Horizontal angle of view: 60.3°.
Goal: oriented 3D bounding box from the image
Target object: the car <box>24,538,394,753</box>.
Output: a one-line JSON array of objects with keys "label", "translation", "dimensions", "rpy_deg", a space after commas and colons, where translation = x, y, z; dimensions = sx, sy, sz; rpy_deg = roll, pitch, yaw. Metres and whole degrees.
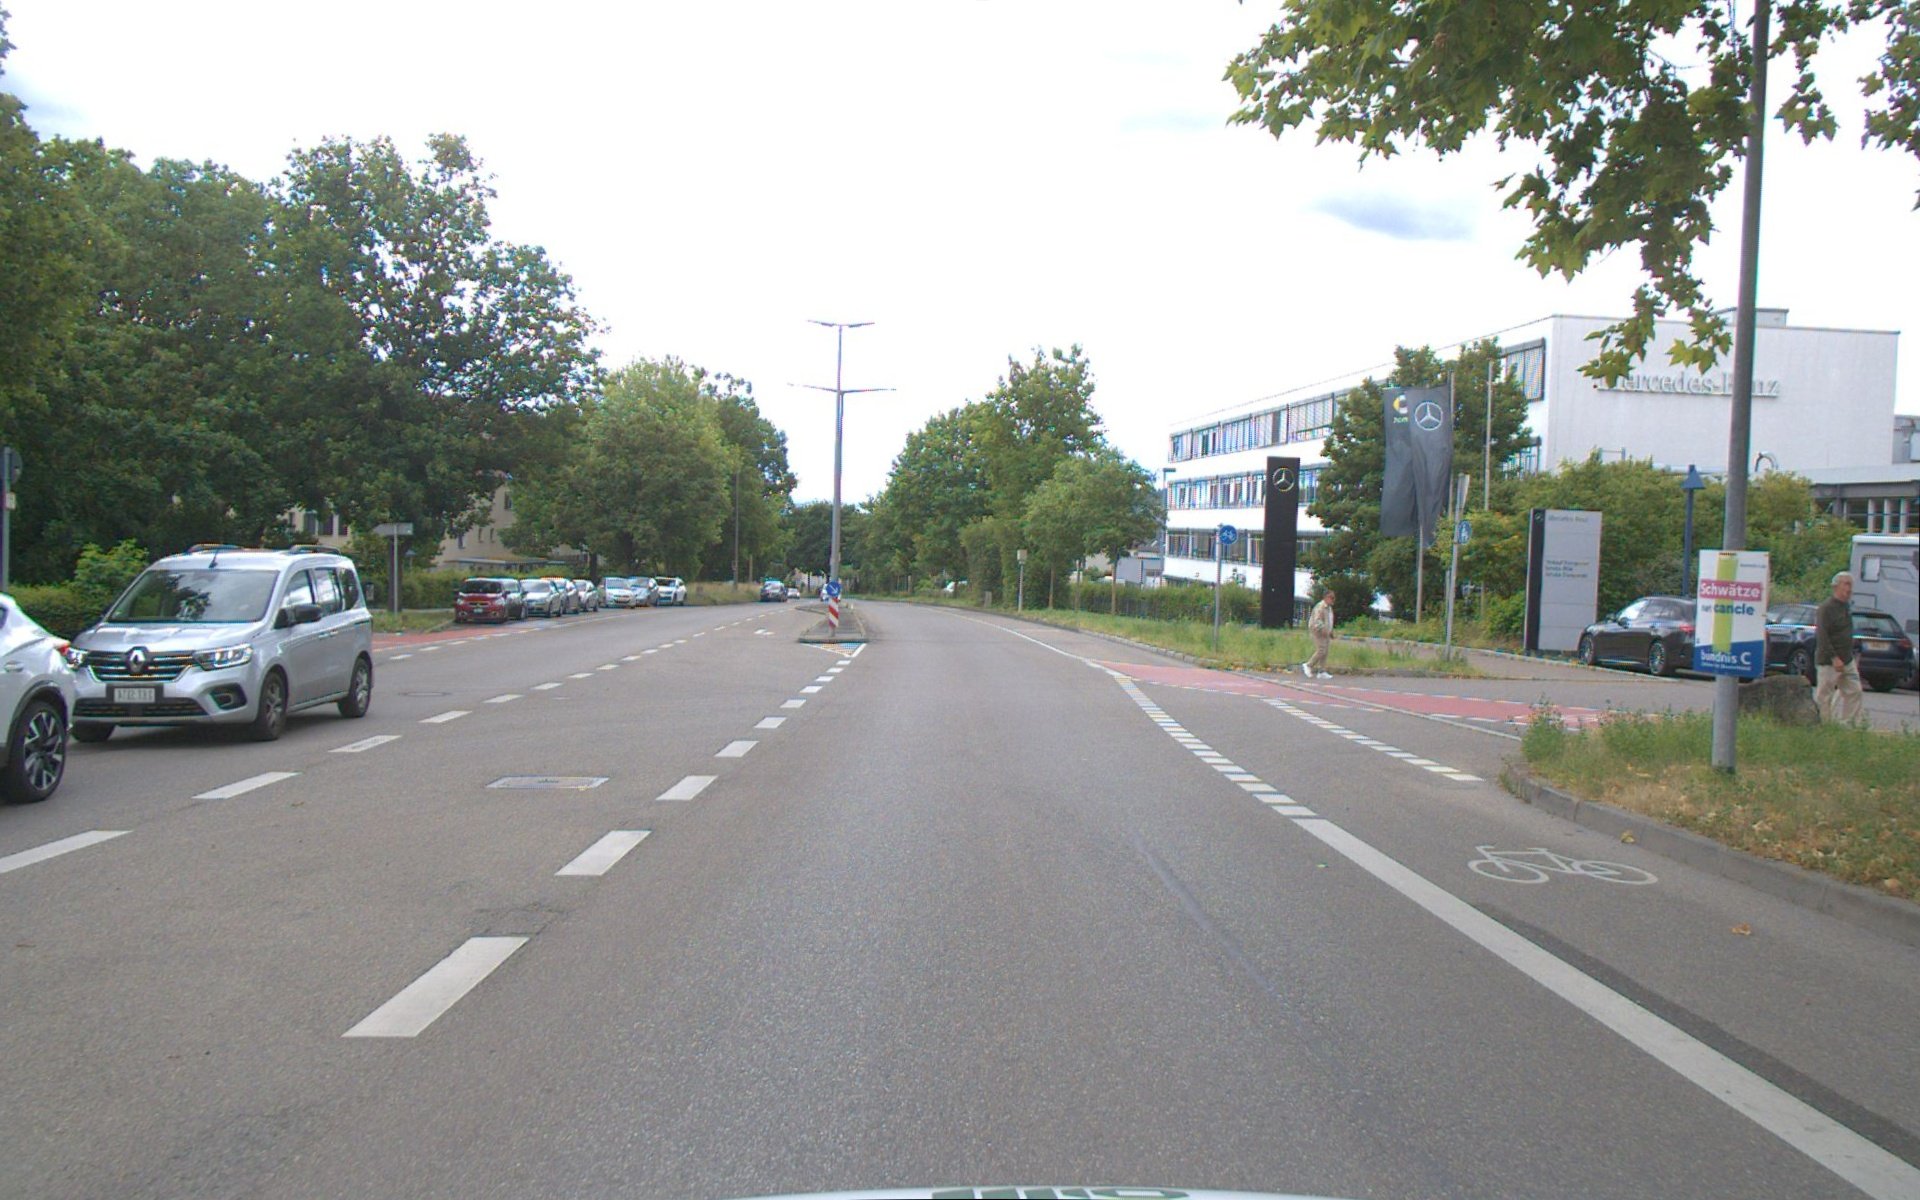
[{"label": "car", "translation": [-7.294, 0.358, 16.643], "dimensions": [1.809, 1.835, 4.647], "rpy_deg": [-1, 1, -4]}]

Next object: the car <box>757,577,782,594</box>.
[{"label": "car", "translation": [-15.606, -1.214, 135.493], "dimensions": [1.736, 1.327, 3.998], "rpy_deg": [2, 1, -3]}]

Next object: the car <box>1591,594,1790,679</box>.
[{"label": "car", "translation": [13.439, 0.623, 30.731], "dimensions": [1.676, 1.377, 4.343], "rpy_deg": [1, 1, -2]}]

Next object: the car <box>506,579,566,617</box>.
[{"label": "car", "translation": [-16.823, -0.097, 65.752], "dimensions": [1.640, 1.427, 3.996], "rpy_deg": [2, 1, -5]}]

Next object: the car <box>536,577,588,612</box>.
[{"label": "car", "translation": [-17.305, -0.270, 72.066], "dimensions": [1.640, 1.427, 3.996], "rpy_deg": [2, 1, -6]}]

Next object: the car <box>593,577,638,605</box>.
[{"label": "car", "translation": [-18.000, -0.477, 86.401], "dimensions": [1.649, 1.327, 3.975], "rpy_deg": [1, 1, -21]}]

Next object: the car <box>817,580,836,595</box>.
[{"label": "car", "translation": [-11.910, -1.130, 147.748], "dimensions": [1.579, 1.327, 3.998], "rpy_deg": [2, 1, -3]}]

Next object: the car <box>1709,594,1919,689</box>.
[{"label": "car", "translation": [16.001, 0.724, 31.139], "dimensions": [1.676, 1.534, 4.343], "rpy_deg": [3, 1, -2]}]

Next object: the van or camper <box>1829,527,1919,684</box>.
[{"label": "van or camper", "translation": [18.857, 0.124, 30.160], "dimensions": [1.927, 2.918, 6.914], "rpy_deg": [1, 1, -4]}]

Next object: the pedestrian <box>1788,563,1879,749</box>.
[{"label": "pedestrian", "translation": [8.923, 0.547, 16.887], "dimensions": [0.733, 1.833, 0.860], "rpy_deg": [1, 1, 33]}]

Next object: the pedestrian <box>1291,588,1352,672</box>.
[{"label": "pedestrian", "translation": [6.566, 0.540, 30.045], "dimensions": [0.777, 1.489, 0.744], "rpy_deg": [1, 1, -21]}]

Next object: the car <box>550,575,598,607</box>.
[{"label": "car", "translation": [-18.001, -0.440, 77.324], "dimensions": [1.640, 1.427, 3.996], "rpy_deg": [2, 1, -6]}]

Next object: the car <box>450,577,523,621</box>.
[{"label": "car", "translation": [-16.194, -0.063, 56.717], "dimensions": [1.640, 1.427, 3.996], "rpy_deg": [2, 1, -6]}]

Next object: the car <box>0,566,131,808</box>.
[{"label": "car", "translation": [-7.010, 0.576, 9.981], "dimensions": [1.809, 1.547, 4.812], "rpy_deg": [-1, 1, -3]}]

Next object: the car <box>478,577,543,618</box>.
[{"label": "car", "translation": [-16.660, -0.123, 61.494], "dimensions": [1.640, 1.427, 3.996], "rpy_deg": [2, 1, -6]}]

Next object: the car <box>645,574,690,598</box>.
[{"label": "car", "translation": [-17.049, -0.794, 96.419], "dimensions": [1.637, 1.327, 4.002], "rpy_deg": [2, 1, 4]}]

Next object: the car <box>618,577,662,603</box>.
[{"label": "car", "translation": [-17.672, -0.572, 91.542], "dimensions": [1.638, 1.327, 4.000], "rpy_deg": [2, 1, -1]}]
